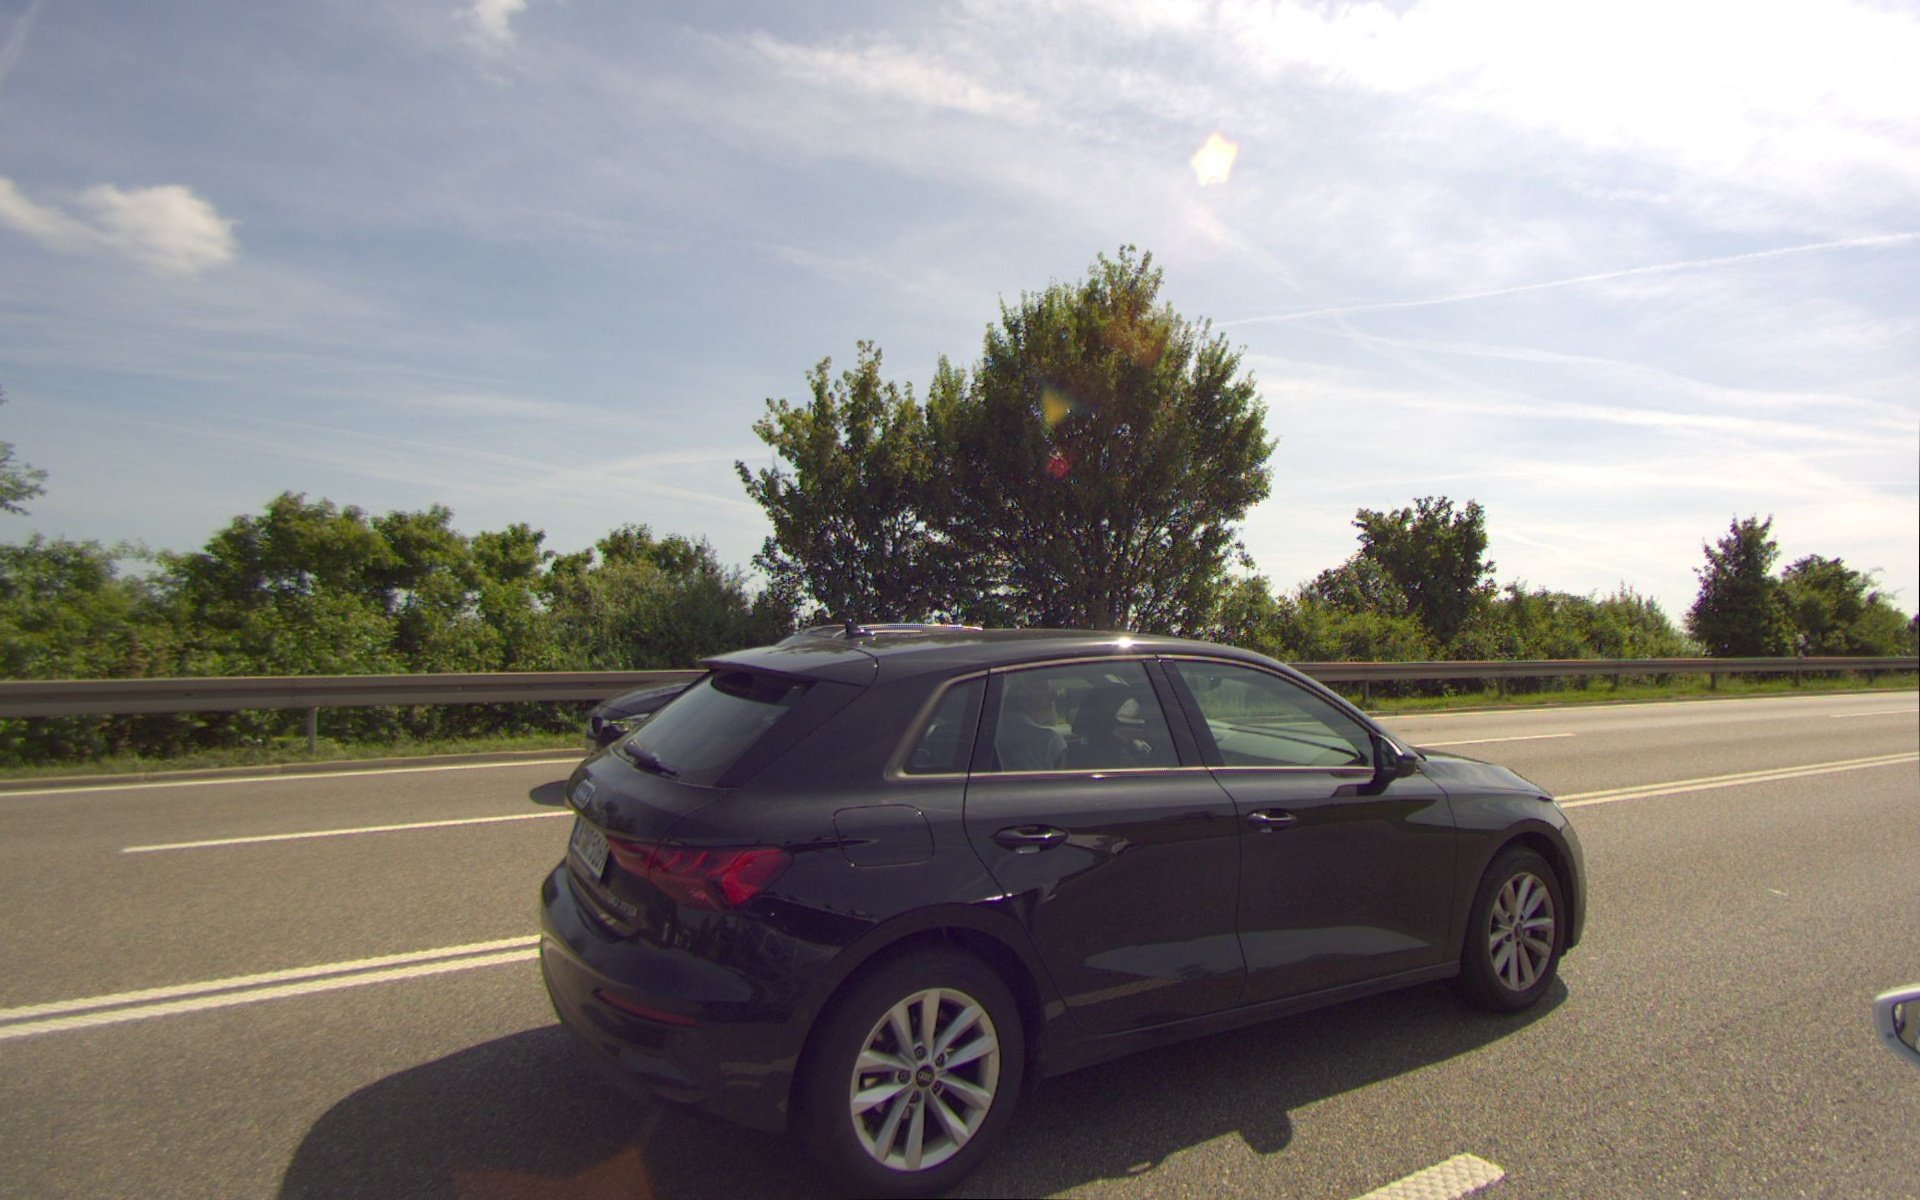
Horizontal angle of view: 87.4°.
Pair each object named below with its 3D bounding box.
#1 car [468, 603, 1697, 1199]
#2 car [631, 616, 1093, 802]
[{"bbox_3d":[0.775,0.819,3.952,4.755,1.492,1.697,2,-1,-30],"label":"car"},{"bbox_3d":[-0.886,0.935,9.782,4.165,1.480,1.710,1,-2,-30],"label":"car"}]
